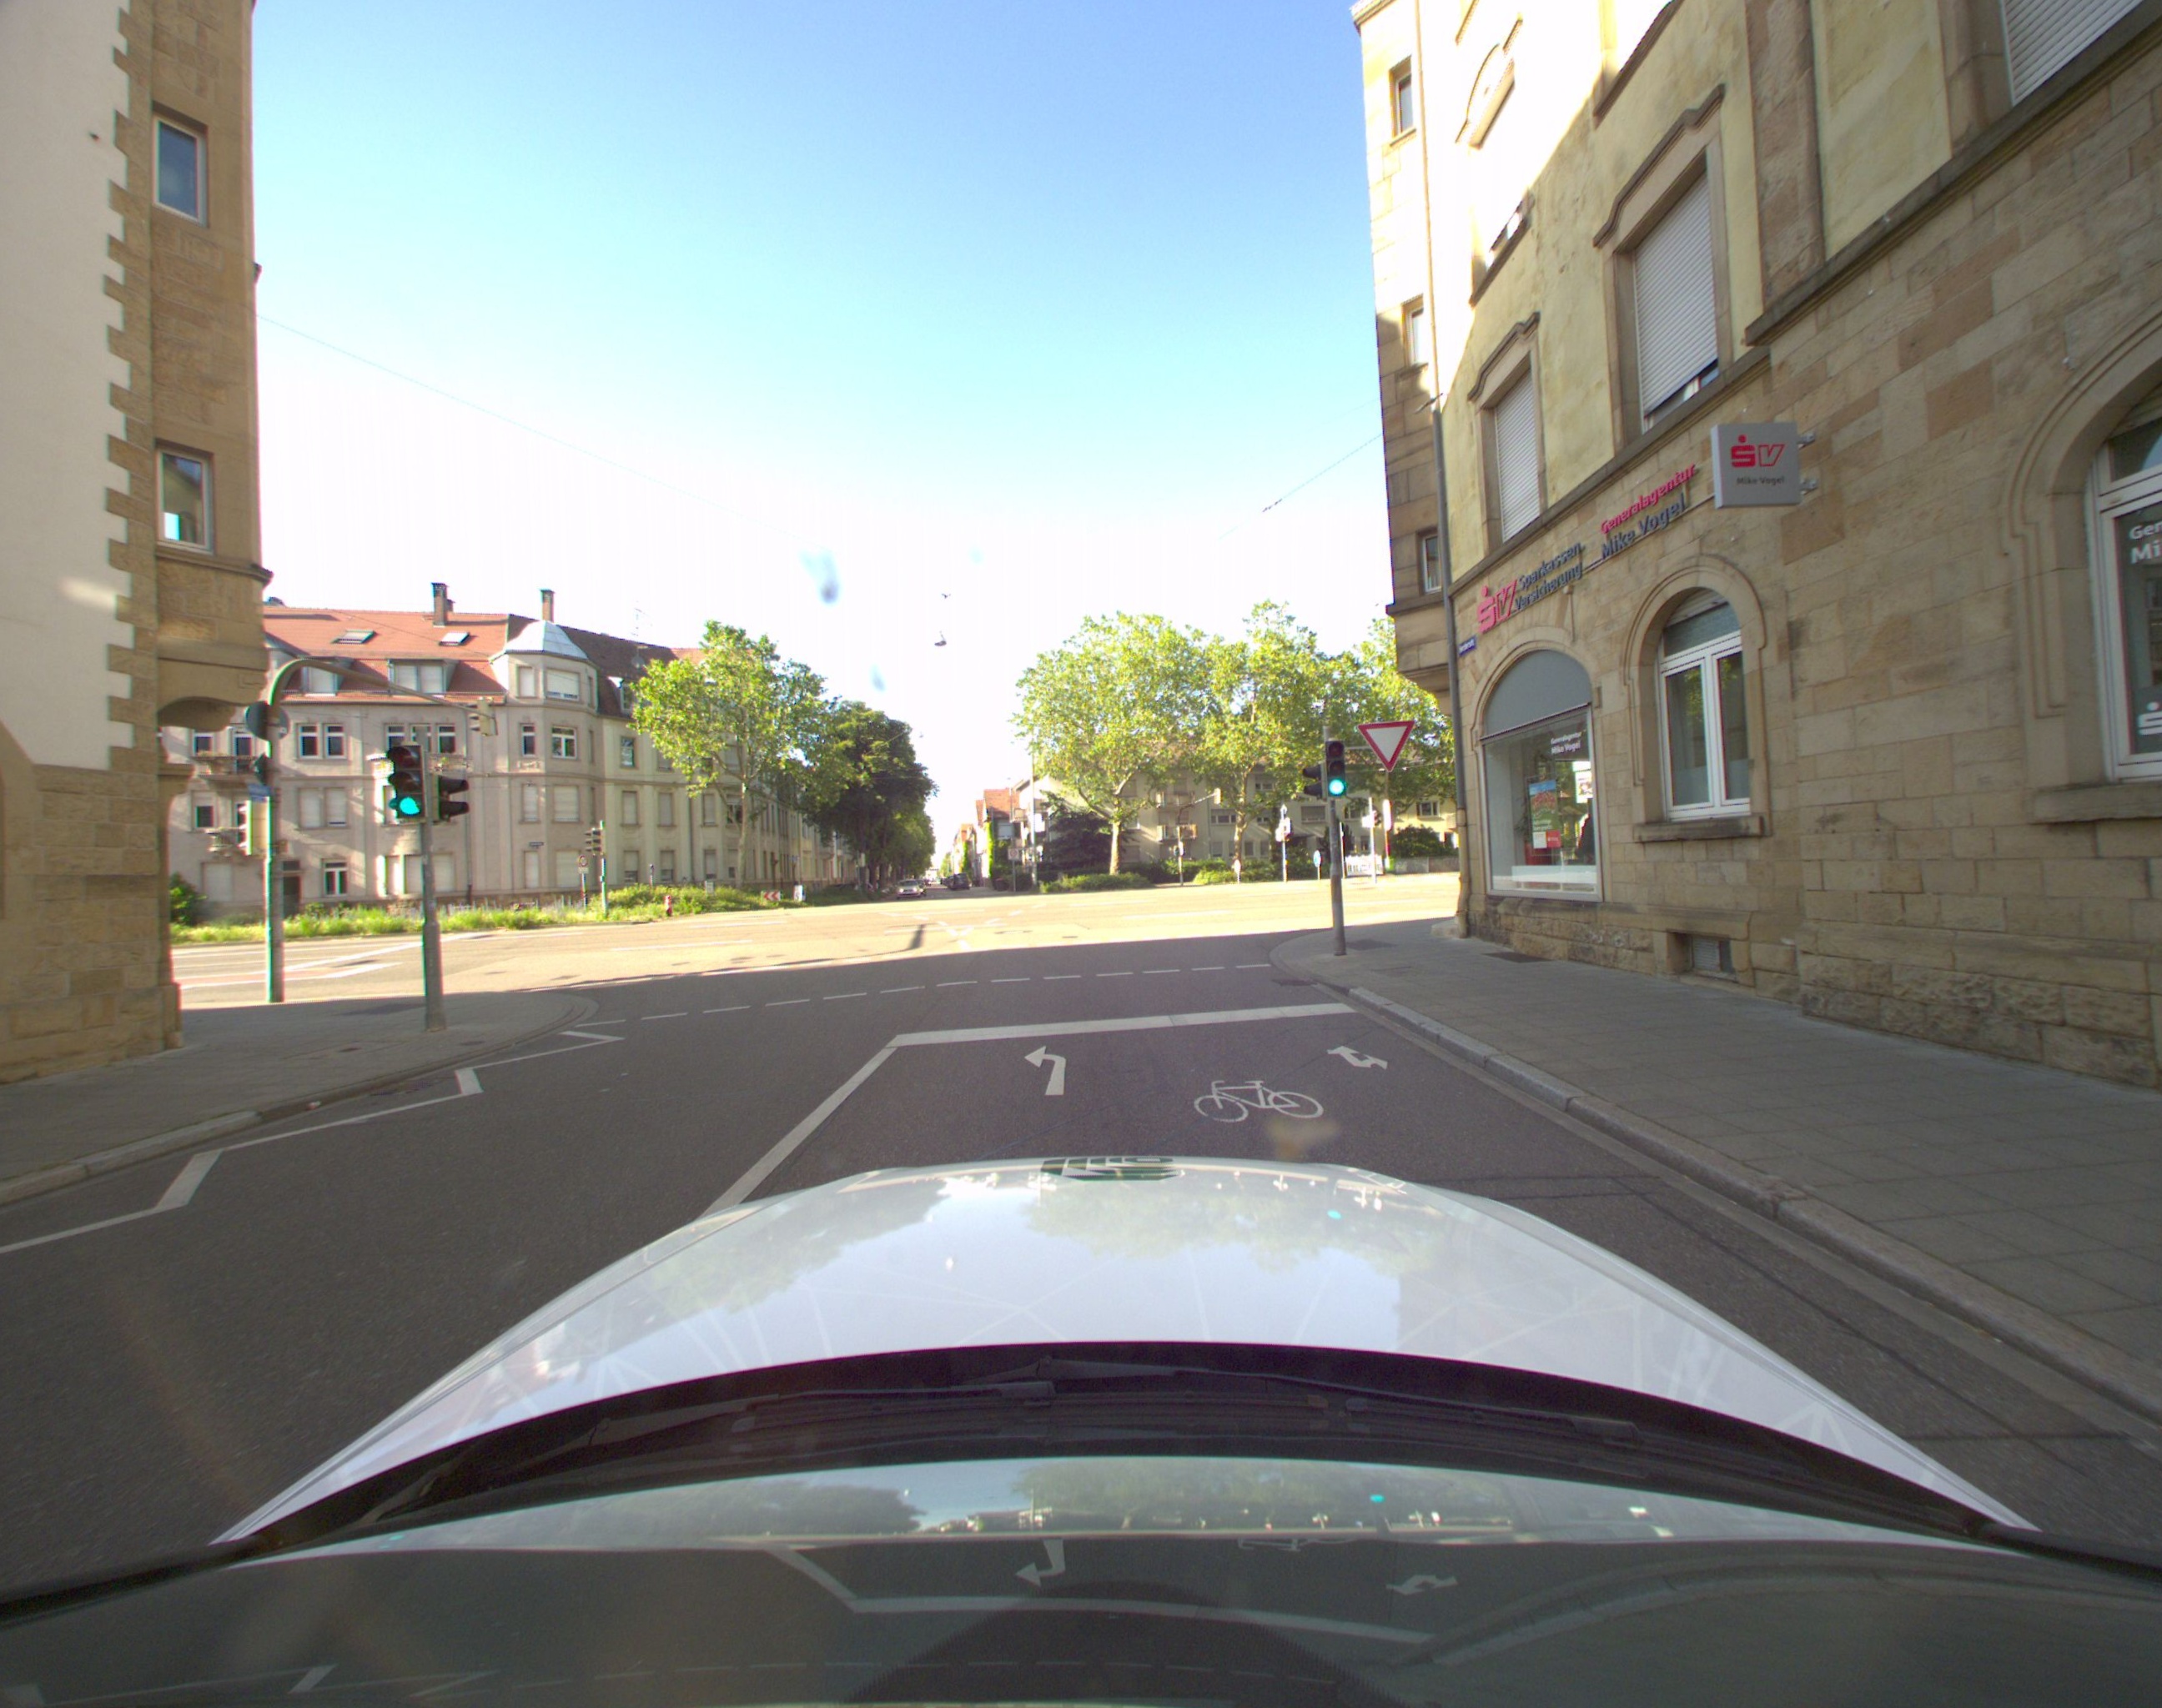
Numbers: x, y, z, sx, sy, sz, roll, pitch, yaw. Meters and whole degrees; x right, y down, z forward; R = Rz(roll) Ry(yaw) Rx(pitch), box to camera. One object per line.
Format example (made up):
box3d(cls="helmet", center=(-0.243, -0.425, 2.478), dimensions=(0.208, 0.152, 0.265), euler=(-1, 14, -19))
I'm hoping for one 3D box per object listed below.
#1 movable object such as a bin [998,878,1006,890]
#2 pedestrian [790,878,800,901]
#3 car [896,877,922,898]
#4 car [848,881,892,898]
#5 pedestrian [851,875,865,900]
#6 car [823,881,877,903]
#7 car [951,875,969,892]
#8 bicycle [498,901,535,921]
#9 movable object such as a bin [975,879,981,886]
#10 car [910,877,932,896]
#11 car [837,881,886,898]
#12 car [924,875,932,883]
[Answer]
box3d(cls="movable object such as a bin", center=(-7.010, 2.660, 72.242), dimensions=(0.598, 1.044, 0.704), euler=(-6, -1, -13))
box3d(cls="pedestrian", center=(-21.367, 2.635, 60.825), dimensions=(0.459, 1.658, 0.893), euler=(-3, -2, -3))
box3d(cls="car", center=(-13.101, 2.594, 62.033), dimensions=(1.807, 1.458, 3.983), euler=(-3, -2, -11))
box3d(cls="car", center=(-20.429, 3.430, 78.982), dimensions=(3.987, 1.482, 1.779), euler=(-2, -2, -10))
box3d(cls="pedestrian", center=(-15.327, 2.306, 56.041), dimensions=(0.691, 1.682, 0.680), euler=(-3, -2, 0))
box3d(cls="car", center=(-17.904, 2.945, 63.242), dimensions=(3.884, 1.476, 1.609), euler=(-3, -2, -12))
box3d(cls="car", center=(-14.146, 3.396, 94.847), dimensions=(1.865, 1.916, 4.764), euler=(1, -2, -10))
box3d(cls="bicycle", center=(-28.304, 2.852, 40.855), dimensions=(1.436, 0.905, 0.494), euler=(-2, -2, -15))
box3d(cls="movable object such as a bin", center=(-14.655, 4.062, 115.689), dimensions=(0.648, 1.040, 0.824), euler=(-3, -1, -13))
box3d(cls="car", center=(-13.600, 2.742, 69.293), dimensions=(1.661, 1.464, 3.795), euler=(-3, -1, -10))
box3d(cls="car", center=(-19.936, 3.268, 74.132), dimensions=(4.214, 1.349, 1.696), euler=(-2, -2, -11))
box3d(cls="car", center=(-32.273, 5.316, 171.886), dimensions=(1.642, 1.508, 3.687), euler=(-4, -1, -11))
